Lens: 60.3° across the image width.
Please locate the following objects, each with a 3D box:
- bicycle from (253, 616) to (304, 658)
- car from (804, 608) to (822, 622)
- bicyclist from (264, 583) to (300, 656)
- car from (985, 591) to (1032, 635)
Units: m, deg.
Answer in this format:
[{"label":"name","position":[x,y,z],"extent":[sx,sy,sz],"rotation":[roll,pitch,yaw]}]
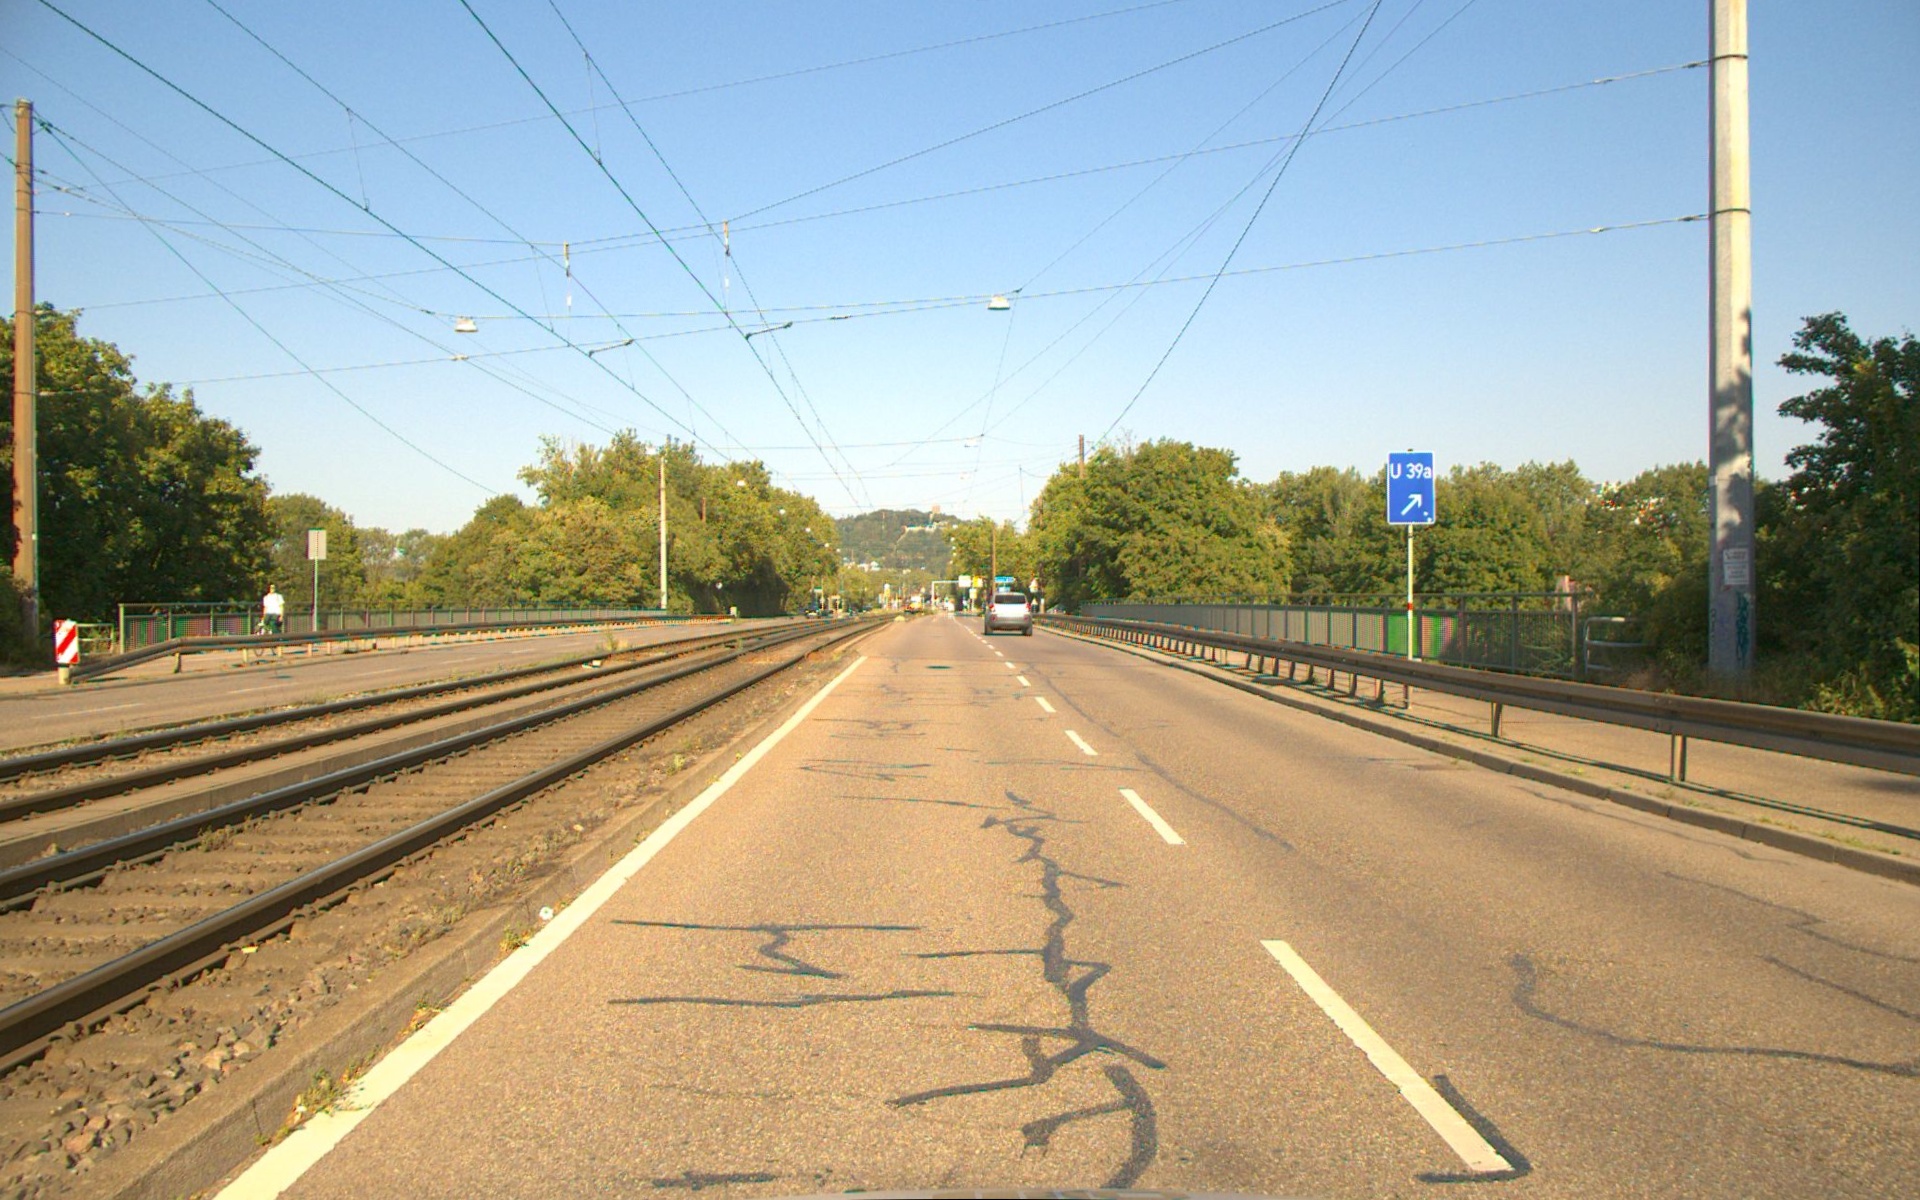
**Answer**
[{"label":"bicycle","position":[-17.831,0.953,43.300],"extent":[0.529,1.061,1.924],"rotation":[1,0,-1]},{"label":"car","position":[-18.433,1.849,208.062],"extent":[1.953,1.646,3.999],"rotation":[2,0,-1]},{"label":"bicyclist","position":[-17.824,0.502,43.504],"extent":[0.529,1.895,0.875],"rotation":[1,0,-1]},{"label":"car","position":[1.941,0.523,66.761],"extent":[1.849,1.723,4.257],"rotation":[0,0,1]}]
